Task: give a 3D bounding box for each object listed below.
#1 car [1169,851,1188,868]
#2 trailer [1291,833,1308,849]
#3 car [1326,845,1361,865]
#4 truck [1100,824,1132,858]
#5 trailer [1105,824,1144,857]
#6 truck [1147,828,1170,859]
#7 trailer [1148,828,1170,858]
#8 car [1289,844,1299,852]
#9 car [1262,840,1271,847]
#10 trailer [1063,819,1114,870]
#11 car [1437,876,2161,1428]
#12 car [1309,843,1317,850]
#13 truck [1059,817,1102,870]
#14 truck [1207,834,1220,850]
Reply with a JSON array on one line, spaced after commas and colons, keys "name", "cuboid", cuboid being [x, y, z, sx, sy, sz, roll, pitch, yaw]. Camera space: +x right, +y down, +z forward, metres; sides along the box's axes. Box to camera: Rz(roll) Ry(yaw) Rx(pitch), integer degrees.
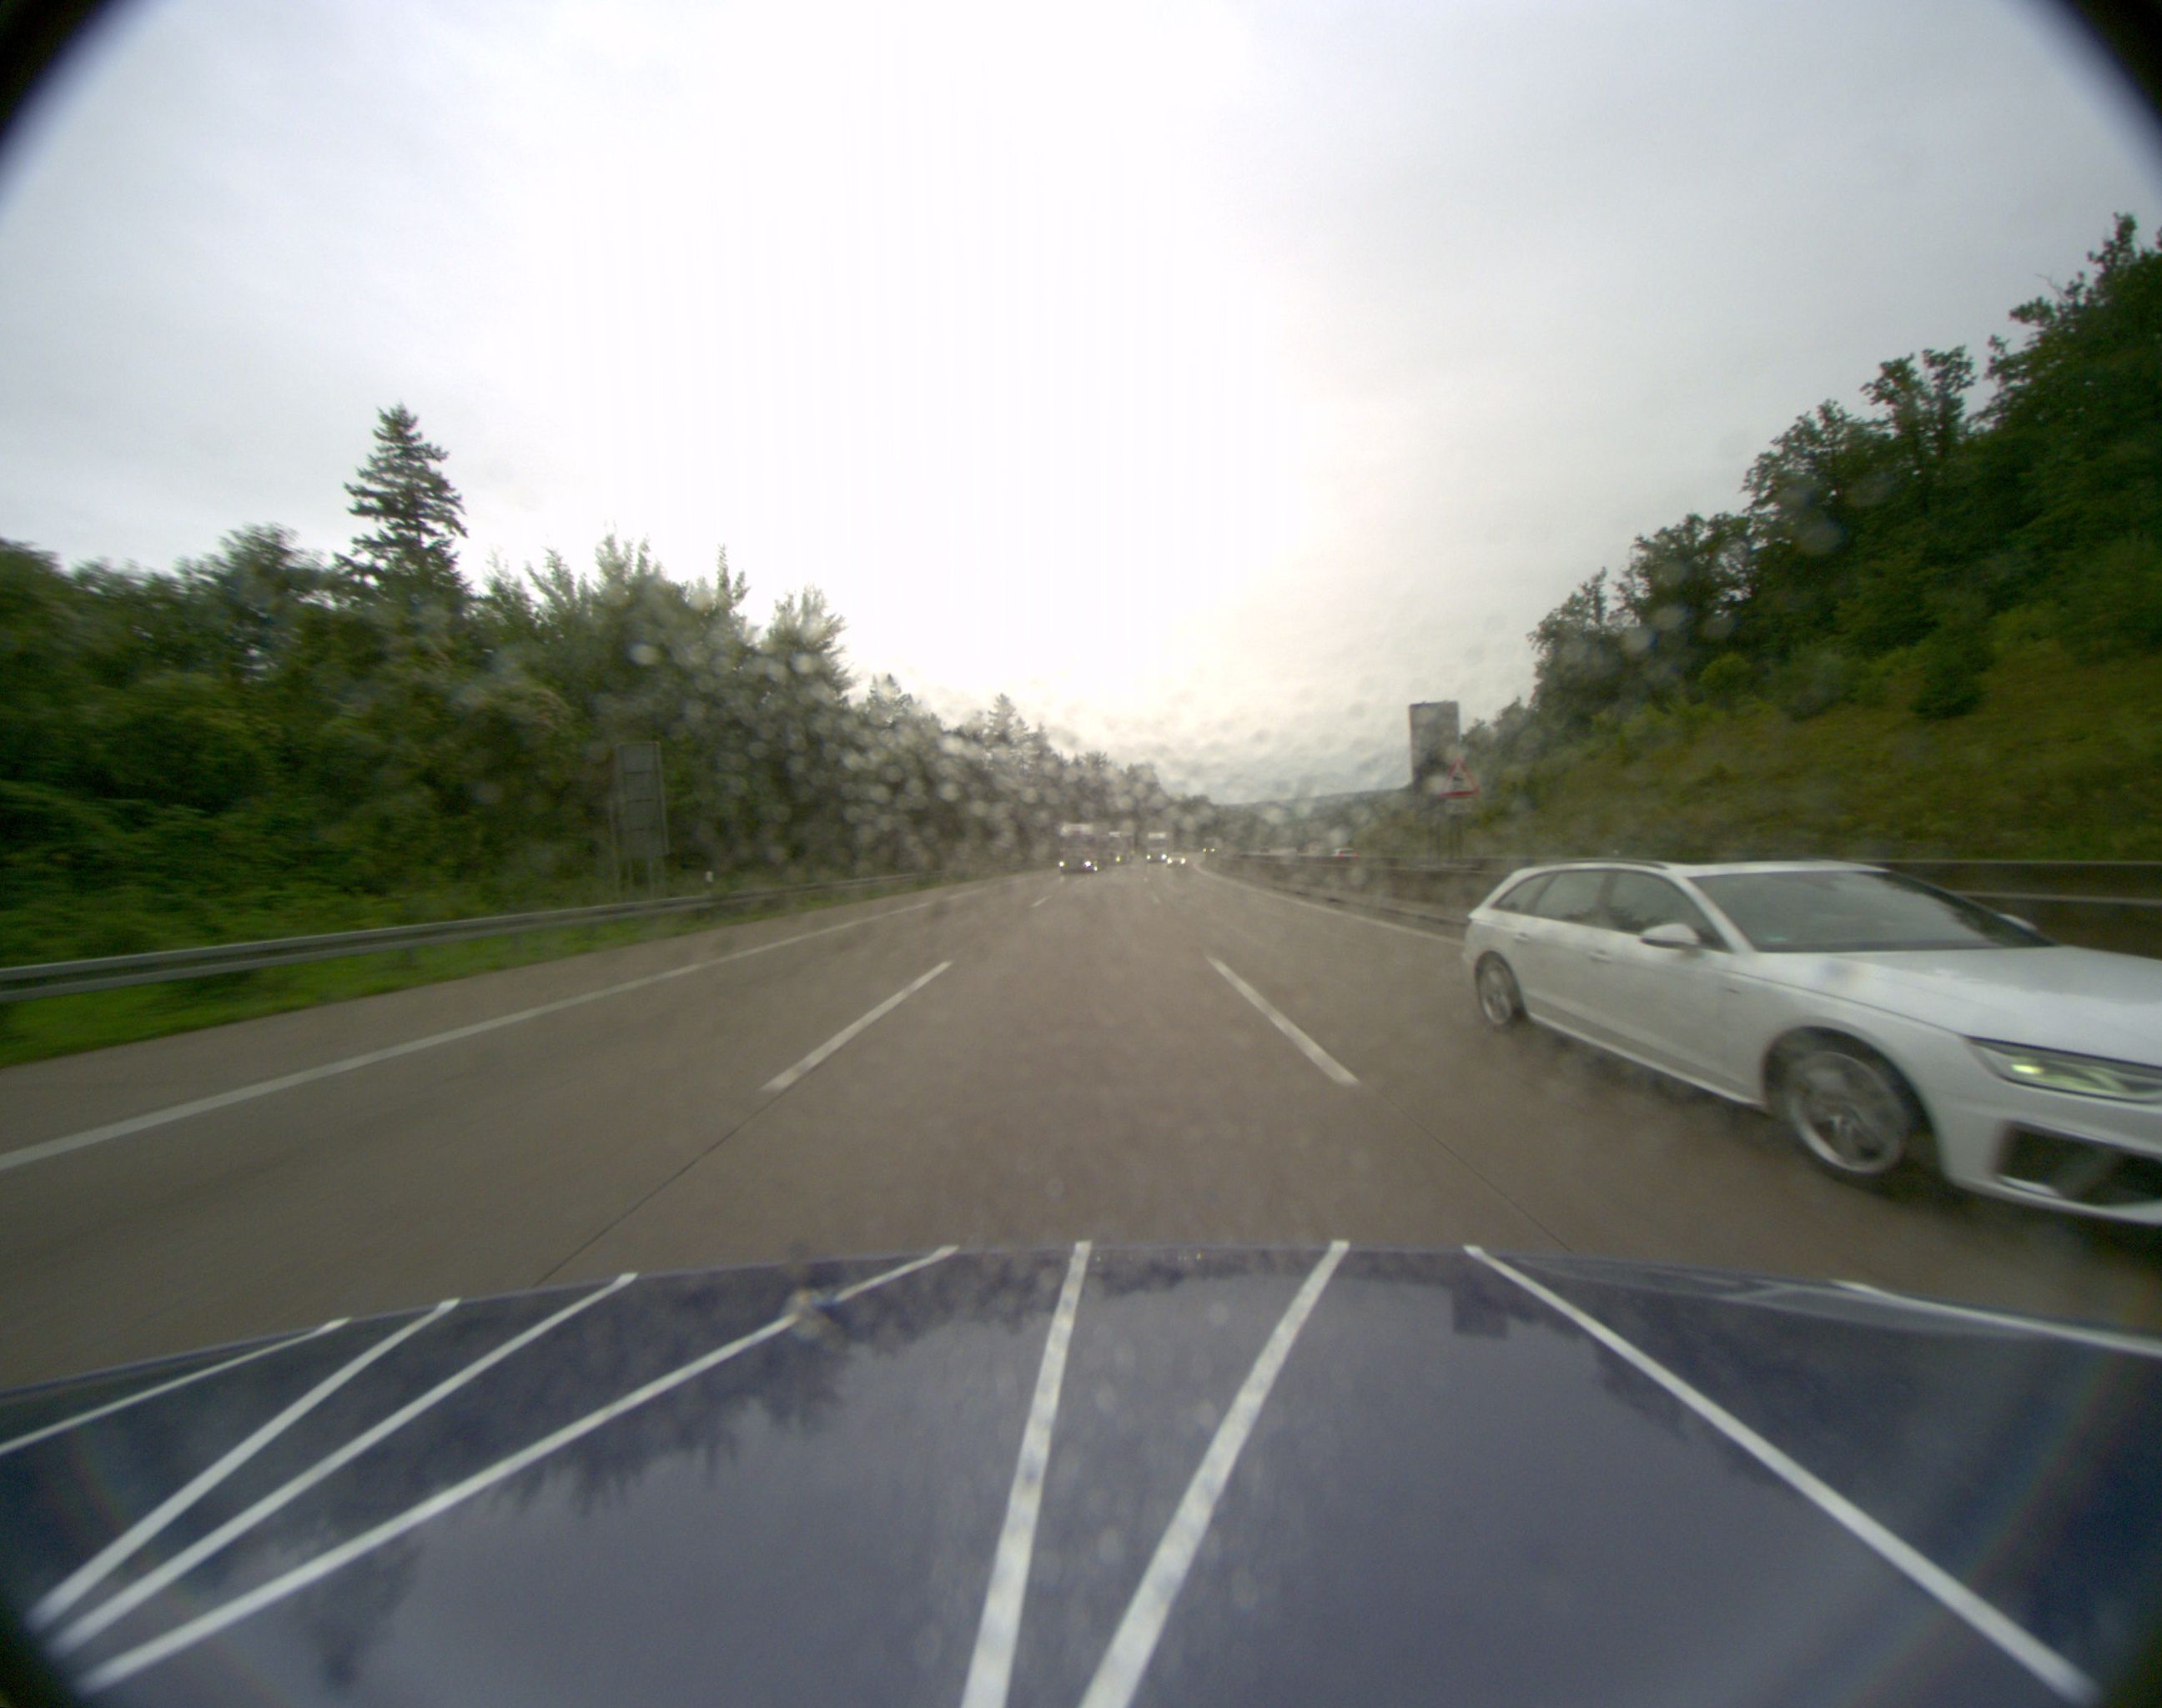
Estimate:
[{"name": "car", "cuboid": [9.587, 0.521, 74.821, 1.849, 1.474, 4.451, -1, 0, 7]}, {"name": "trailer", "cuboid": [55.283, -3.278, 192.395, 2.912, 3.866, 11.043, -1, 1, 11]}, {"name": "car", "cuboid": [21.100, 0.048, 61.127, 1.780, 1.509, 4.001, -1, 1, 6]}, {"name": "truck", "cuboid": [4.388, -1.593, 94.116, 2.803, 4.080, 5.972, -1, 1, 12]}, {"name": "trailer", "cuboid": [5.938, -1.770, 101.010, 2.738, 4.080, 13.693, -1, 1, 13]}, {"name": "truck", "cuboid": [10.705, -1.443, 104.504, 2.726, 4.017, 5.755, -3, 0, 7]}, {"name": "trailer", "cuboid": [11.588, -1.524, 111.641, 2.685, 4.017, 13.711, -3, 0, 7]}, {"name": "car", "cuboid": [45.026, -1.318, 160.829, 1.734, 1.567, 4.247, -1, 1, 11]}, {"name": "car", "cuboid": [44.986, -2.497, 184.697, 1.734, 1.766, 4.761, -1, 1, 9]}, {"name": "trailer", "cuboid": [0.823, -0.705, 66.386, 2.375, 3.930, 12.530, -4, -1, 9]}, {"name": "car", "cuboid": [4.065, 0.934, 4.501, 1.716, 1.399, 4.936, -1, 0, 2]}, {"name": "car", "cuboid": [71.659, -2.373, 234.505, 2.105, 2.002, 4.003, -1, 0, 12]}, {"name": "truck", "cuboid": [0.046, -0.775, 61.407, 2.379, 3.930, 6.164, -3, 0, 9]}, {"name": "truck", "cuboid": [35.618, -3.311, 204.300, 2.735, 4.127, 8.629, -1, 0, 13]}]
